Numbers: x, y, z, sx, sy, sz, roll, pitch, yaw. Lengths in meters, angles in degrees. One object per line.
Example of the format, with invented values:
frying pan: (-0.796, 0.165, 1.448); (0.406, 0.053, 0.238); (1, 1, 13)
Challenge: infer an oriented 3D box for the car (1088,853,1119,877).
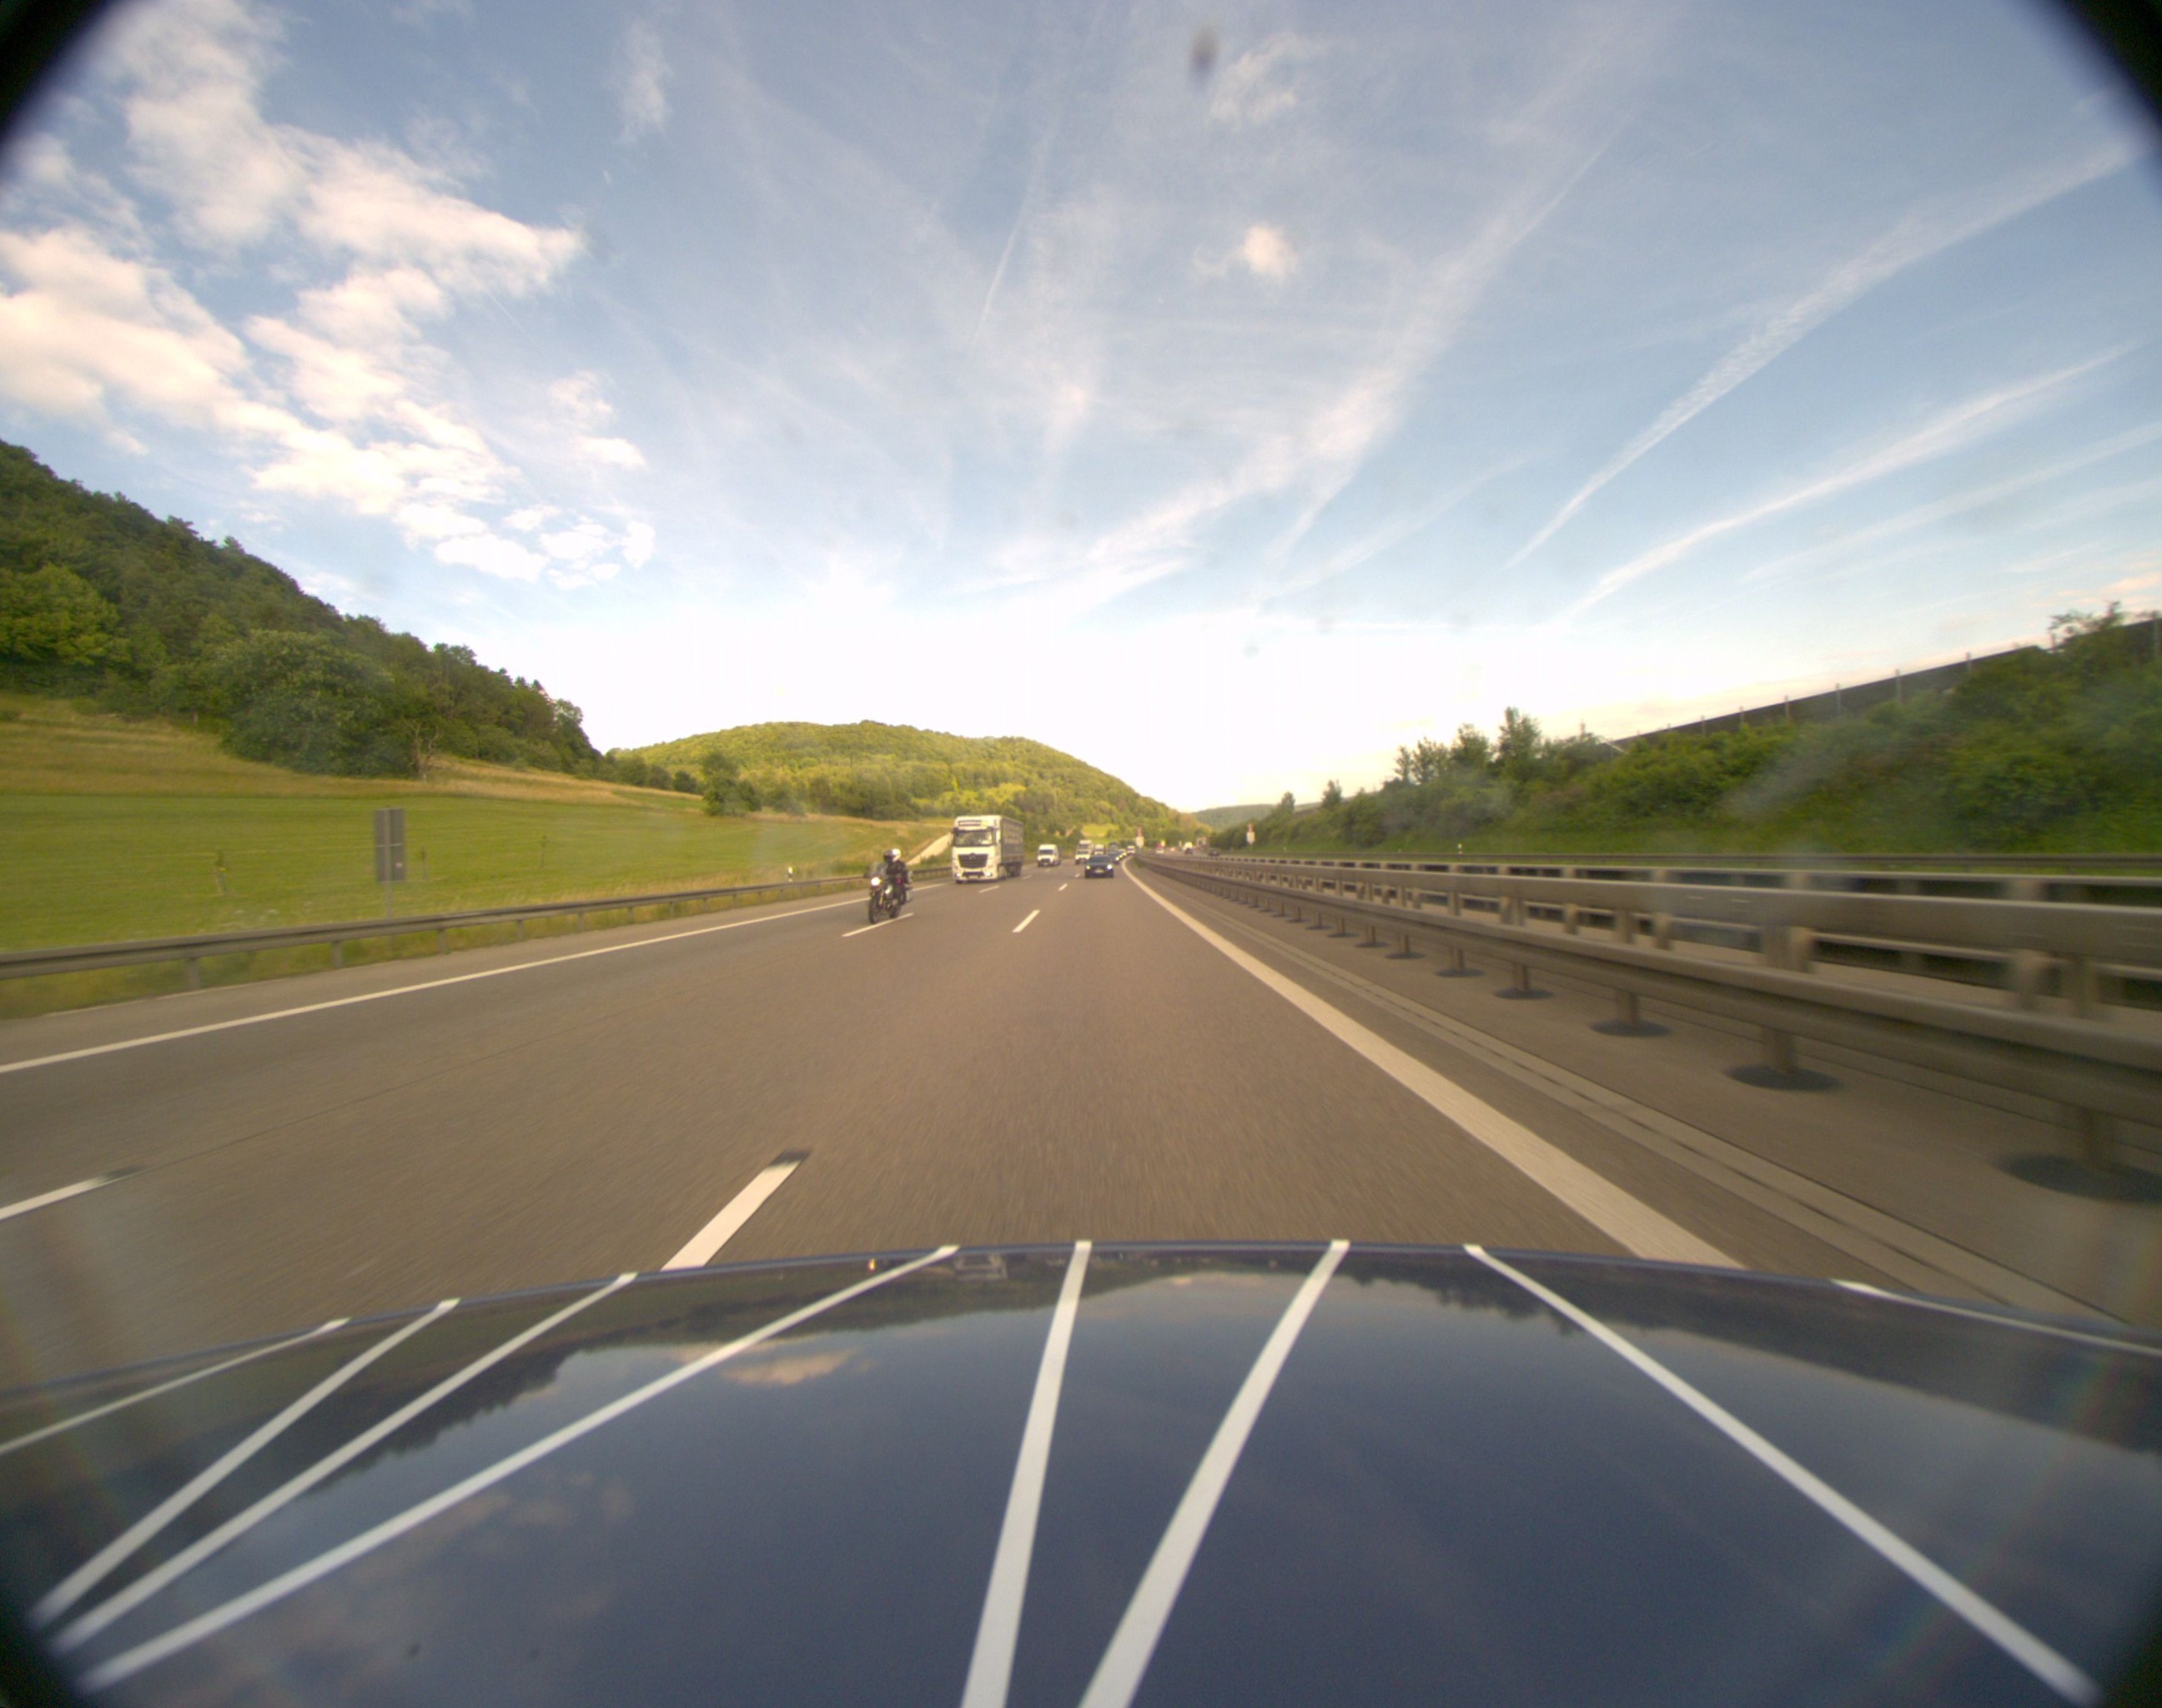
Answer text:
car: (1.460, 0.669, 47.745); (1.580, 1.310, 4.001); (-2, 1, 6)

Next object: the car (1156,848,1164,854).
car: (21.753, -0.786, 208.915); (1.837, 1.582, 5.019); (-2, 1, 3)

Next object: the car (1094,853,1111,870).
car: (2.581, 0.885, 91.306); (1.998, 1.871, 4.000); (-1, 0, 0)

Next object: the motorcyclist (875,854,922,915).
motorcyclist: (-4.695, 0.766, 19.554); (0.878, 1.506, 0.798); (-2, 1, 8)

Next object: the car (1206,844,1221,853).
car: (21.764, -0.985, 124.872); (1.710, 1.407, 4.000); (-2, 1, 2)

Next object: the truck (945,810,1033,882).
truck: (-5.708, -0.545, 51.372); (2.971, 3.969, 17.732); (-2, 1, 2)

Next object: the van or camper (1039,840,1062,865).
van or camper: (-3.610, -0.193, 90.583); (1.998, 2.701, 7.524); (-2, 0, 3)

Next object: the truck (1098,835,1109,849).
truck: (5.988, -3.155, 200.005); (2.708, 3.627, 9.034); (-2, 1, 3)

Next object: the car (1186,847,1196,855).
car: (27.948, -0.823, 192.608); (1.967, 2.028, 5.019); (-2, 1, 3)

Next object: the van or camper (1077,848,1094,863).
van or camper: (0.600, 0.168, 98.349); (1.998, 1.881, 4.487); (-2, 1, 1)

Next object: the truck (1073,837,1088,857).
truck: (-0.013, -1.536, 164.099); (2.925, 3.876, 13.008); (-2, 1, 1)

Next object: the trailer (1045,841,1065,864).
trailer: (-3.253, -0.202, 96.748); (1.998, 2.710, 5.250); (-2, 0, 3)

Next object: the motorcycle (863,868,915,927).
motorcycle: (-4.770, 1.058, 18.978); (0.628, 1.331, 1.740); (-2, 1, 6)
